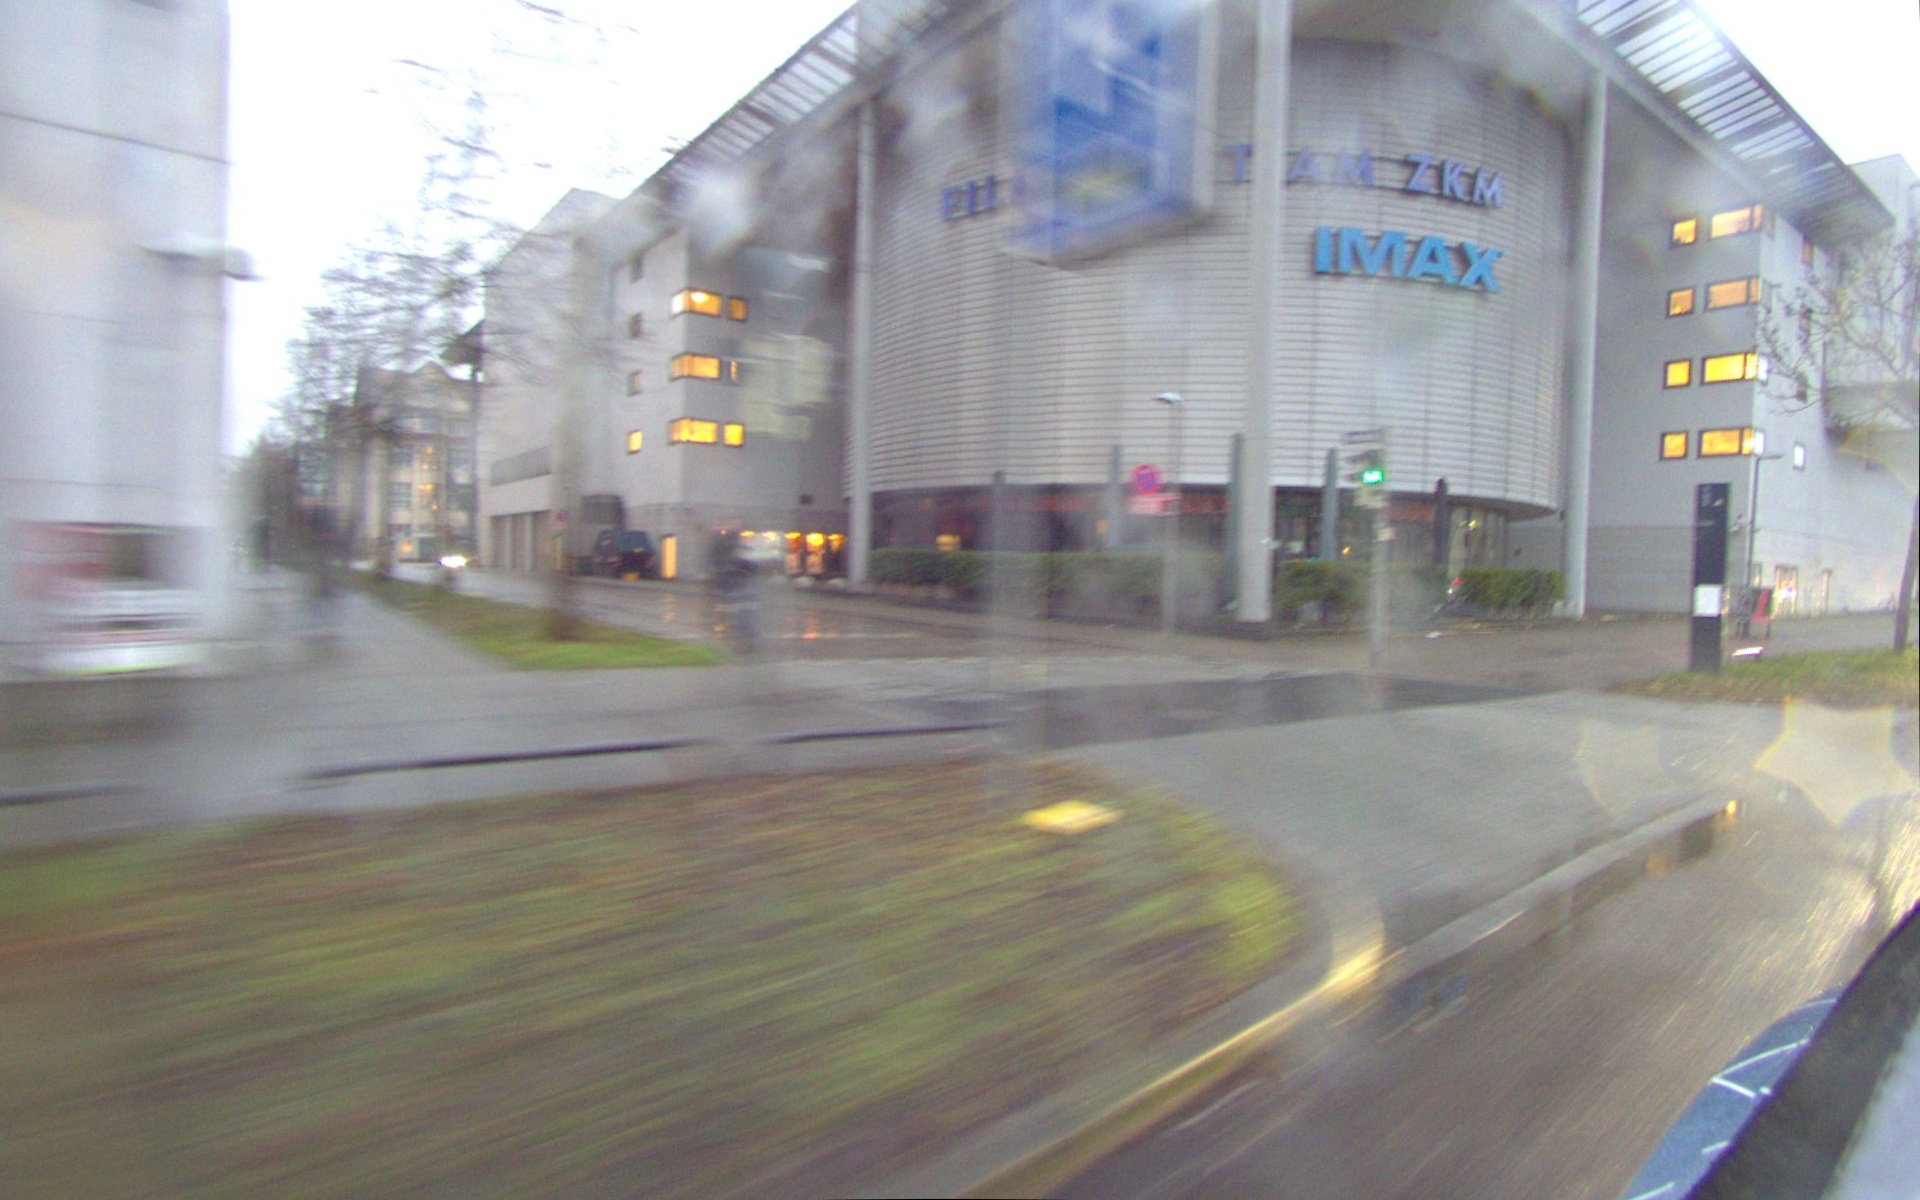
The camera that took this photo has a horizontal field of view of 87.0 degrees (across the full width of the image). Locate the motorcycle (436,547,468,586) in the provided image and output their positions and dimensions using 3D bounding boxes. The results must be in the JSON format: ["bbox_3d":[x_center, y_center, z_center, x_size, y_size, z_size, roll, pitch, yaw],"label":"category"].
[{"bbox_3d":[-14.938,-0.964,29.737,0.612,1.112,1.444,-1,1,-36],"label":"motorcycle"}]

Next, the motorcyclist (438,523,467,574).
[{"bbox_3d":[-14.835,-1.498,29.569,0.598,1.472,0.901,-1,1,-36],"label":"motorcyclist"}]

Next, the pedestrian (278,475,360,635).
[{"bbox_3d":[-7.388,-0.509,11.665,0.690,1.757,0.738,-1,1,-40],"label":"pedestrian"}]

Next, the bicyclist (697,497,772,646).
[{"bbox_3d":[-2.941,-0.361,13.161,0.822,1.845,0.733,3,0,-15],"label":"bicyclist"}]

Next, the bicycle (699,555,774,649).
[{"bbox_3d":[-2.967,0.012,13.309,0.836,1.105,1.872,3,0,-14],"label":"bicycle"}]
